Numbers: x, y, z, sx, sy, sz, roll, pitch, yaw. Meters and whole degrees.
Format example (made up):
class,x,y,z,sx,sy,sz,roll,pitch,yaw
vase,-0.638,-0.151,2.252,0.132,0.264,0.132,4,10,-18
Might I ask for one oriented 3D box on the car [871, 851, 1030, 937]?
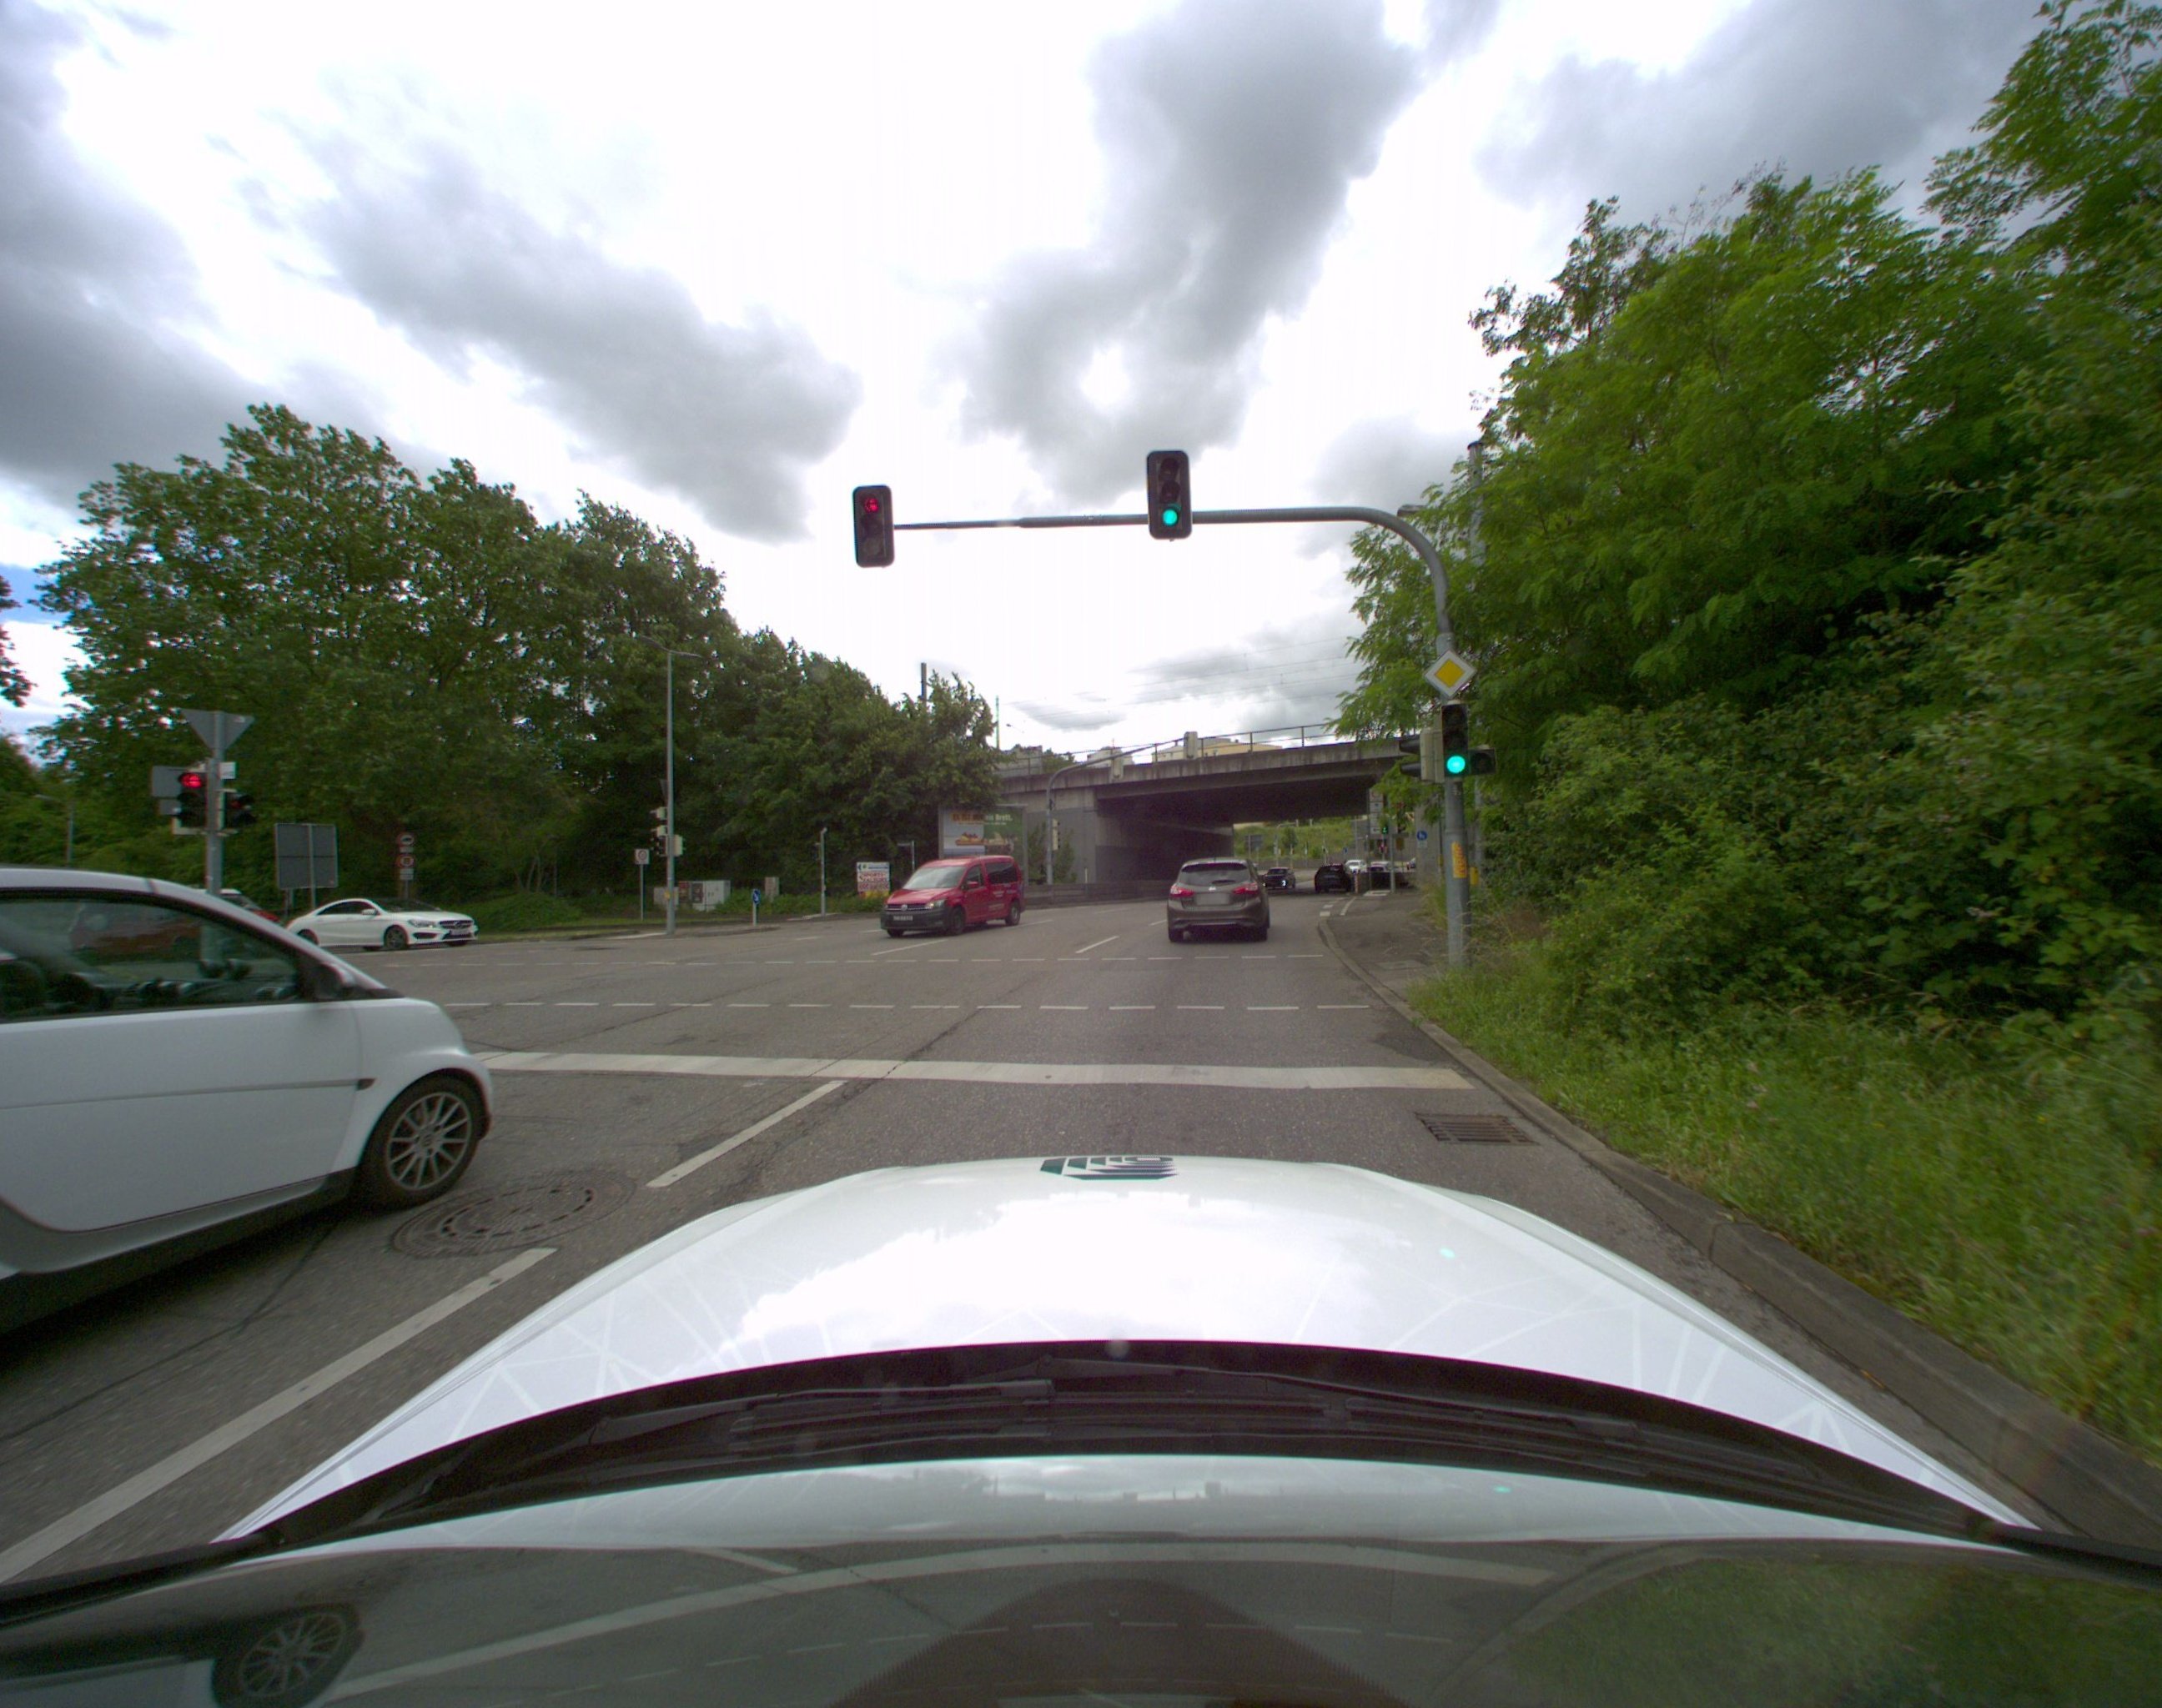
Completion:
class,x,y,z,sx,sy,sz,roll,pitch,yaw
car,-2.993,0.884,19.859,1.674,1.825,4.750,-2,-1,20

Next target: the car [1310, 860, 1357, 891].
class,x,y,z,sx,sy,sz,roll,pitch,yaw
car,13.216,1.100,42.529,1.883,1.466,4.022,-2,-1,23

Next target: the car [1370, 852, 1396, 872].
class,x,y,z,sx,sy,sz,roll,pitch,yaw
car,26.371,0.676,71.061,1.813,1.706,3.891,-1,-1,25

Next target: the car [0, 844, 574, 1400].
class,x,y,z,sx,sy,sz,roll,pitch,yaw
car,-3.731,0.745,3.030,1.567,1.557,3.021,1,0,6

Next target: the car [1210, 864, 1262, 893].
class,x,y,z,sx,sy,sz,roll,pitch,yaw
car,8.396,1.299,43.911,1.800,1.477,4.160,-2,-1,24

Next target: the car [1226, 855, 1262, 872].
class,x,y,z,sx,sy,sz,roll,pitch,yaw
car,20.107,1.159,100.663,3.951,1.948,2.011,-2,-1,24

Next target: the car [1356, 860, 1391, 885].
class,x,y,z,sx,sy,sz,roll,pitch,yaw
car,20.978,1.305,58.303,1.975,1.618,4.023,-2,-1,25

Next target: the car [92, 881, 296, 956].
class,x,y,z,sx,sy,sz,roll,pitch,yaw
car,-24.297,1.740,22.377,4.001,1.813,1.860,-3,-2,9

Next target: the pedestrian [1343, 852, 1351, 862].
class,x,y,z,sx,sy,sz,roll,pitch,yaw
pedestrian,32.826,0.388,100.577,0.903,1.224,0.733,1,1,18

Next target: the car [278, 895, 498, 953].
class,x,y,z,sx,sy,sz,roll,pitch,yaw
car,-18.194,1.823,21.479,4.379,1.339,2.005,-2,-3,9

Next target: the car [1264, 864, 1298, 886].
class,x,y,z,sx,sy,sz,roll,pitch,yaw
car,13.789,1.450,55.953,1.708,1.410,4.020,-3,-2,21

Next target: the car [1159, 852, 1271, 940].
class,x,y,z,sx,sy,sz,roll,pitch,yaw
car,2.766,0.779,16.068,1.831,1.493,4.014,-2,-2,14

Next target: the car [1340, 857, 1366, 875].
class,x,y,z,sx,sy,sz,roll,pitch,yaw
car,27.229,1.216,81.411,1.766,1.660,4.133,-2,-2,27

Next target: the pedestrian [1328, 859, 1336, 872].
class,x,y,z,sx,sy,sz,roll,pitch,yaw
pedestrian,32.561,1.457,105.529,0.945,1.613,0.703,-2,-1,17
